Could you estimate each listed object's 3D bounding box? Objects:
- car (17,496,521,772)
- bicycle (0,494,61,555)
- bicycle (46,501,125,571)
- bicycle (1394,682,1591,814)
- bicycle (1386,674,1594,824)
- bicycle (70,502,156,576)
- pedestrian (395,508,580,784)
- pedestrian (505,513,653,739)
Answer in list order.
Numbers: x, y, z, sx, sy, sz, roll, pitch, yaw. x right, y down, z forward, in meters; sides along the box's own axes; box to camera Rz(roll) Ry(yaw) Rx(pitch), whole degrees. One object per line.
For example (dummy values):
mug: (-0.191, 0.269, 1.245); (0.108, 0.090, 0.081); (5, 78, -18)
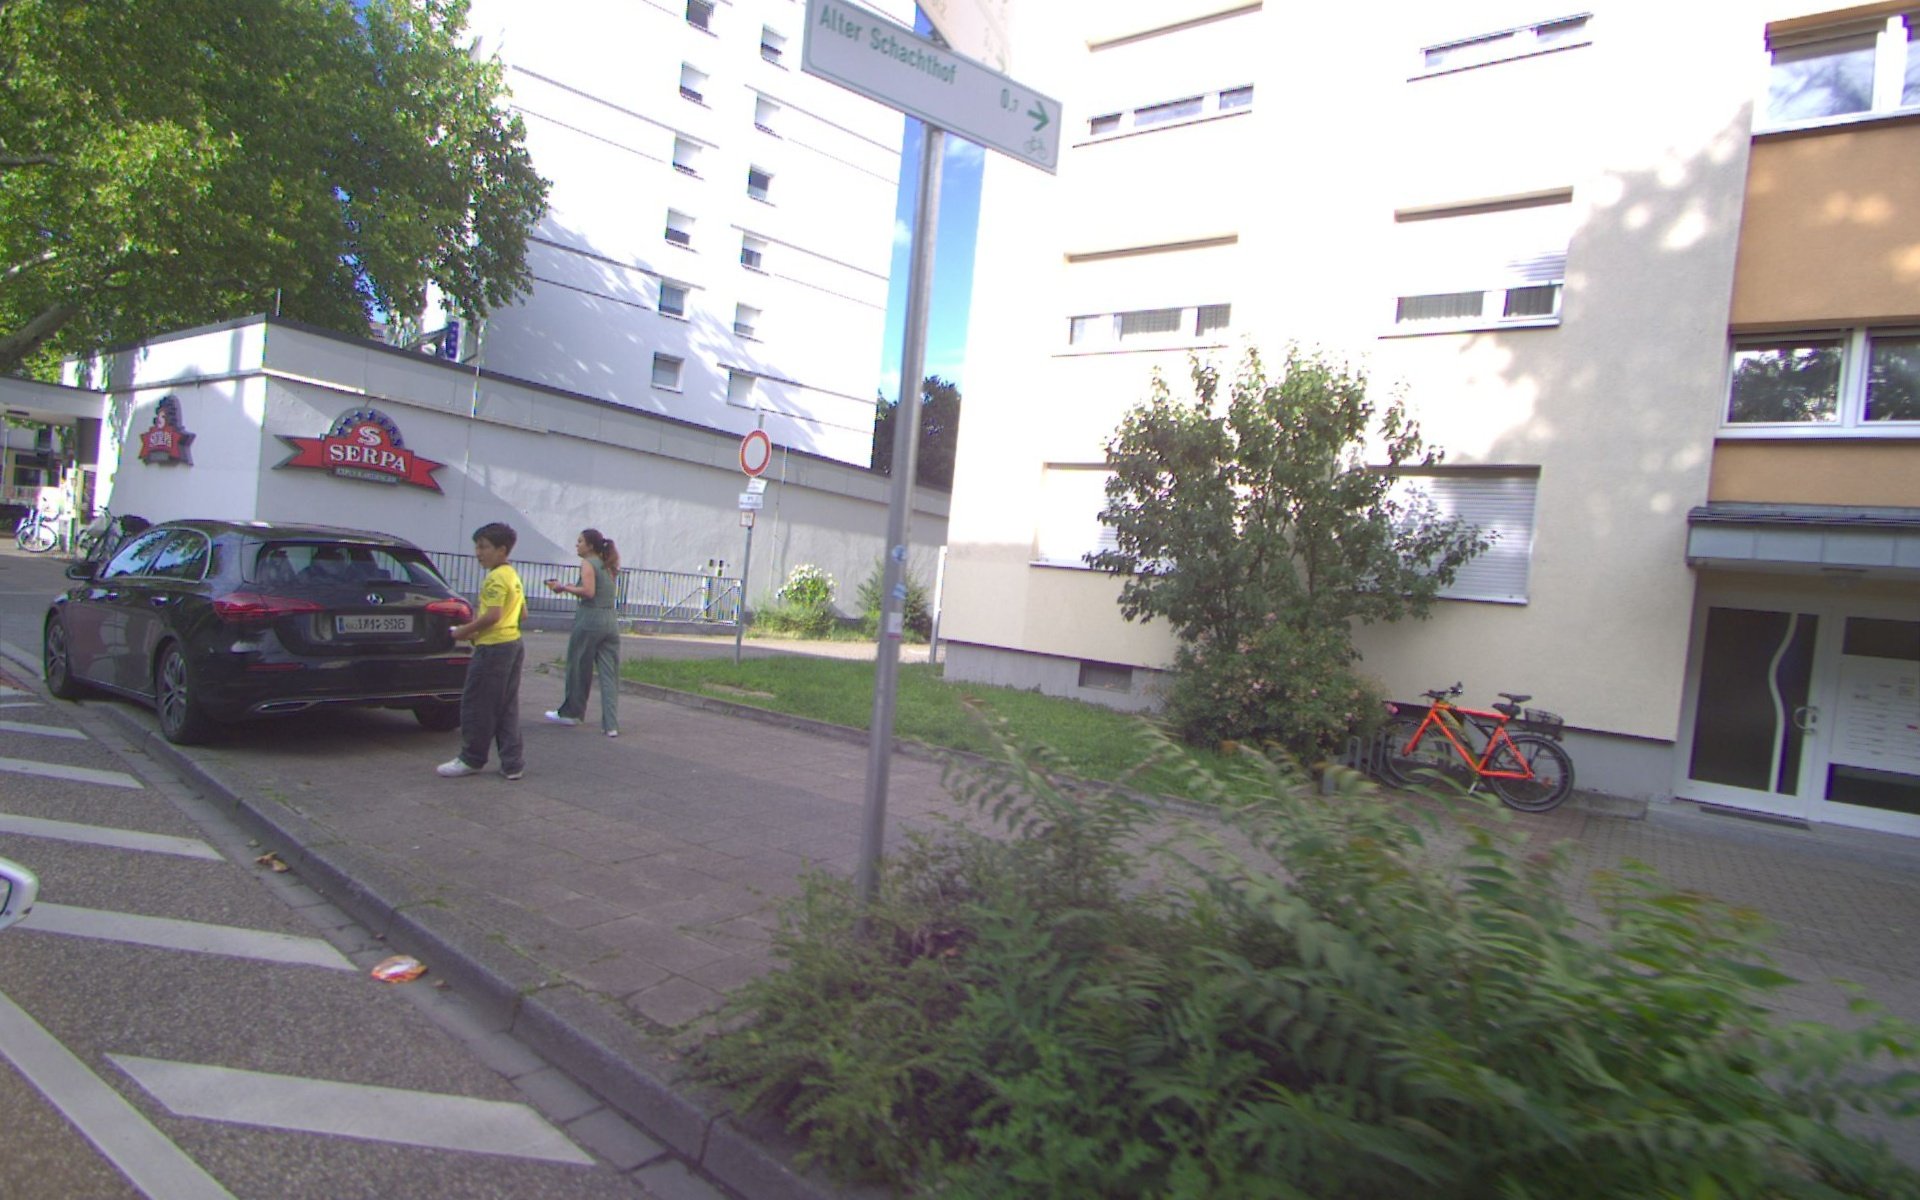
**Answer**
car: (-5.324, 0.103, 7.567); (4.166, 1.430, 1.760); (6, 2, 35)
bicycle: (-20.498, -1.672, 22.094); (1.786, 1.223, 0.711); (6, 4, 33)
bicycle: (-17.406, -1.276, 20.015); (1.743, 1.221, 0.711); (7, 1, 35)
bicycle: (5.038, 1.373, 9.588); (1.526, 0.976, 0.478); (7, 1, 29)
bicycle: (4.762, 1.303, 9.110); (1.526, 1.069, 0.522); (7, 1, 29)
bicycle: (-15.962, -1.155, 18.949); (1.787, 1.222, 0.768); (7, 3, 35)
pedestrian: (-2.920, 0.262, 6.229); (0.730, 1.559, 0.652); (7, 3, 31)
pedestrian: (-3.028, 0.201, 8.010); (0.731, 1.666, 0.653); (7, 1, 31)
